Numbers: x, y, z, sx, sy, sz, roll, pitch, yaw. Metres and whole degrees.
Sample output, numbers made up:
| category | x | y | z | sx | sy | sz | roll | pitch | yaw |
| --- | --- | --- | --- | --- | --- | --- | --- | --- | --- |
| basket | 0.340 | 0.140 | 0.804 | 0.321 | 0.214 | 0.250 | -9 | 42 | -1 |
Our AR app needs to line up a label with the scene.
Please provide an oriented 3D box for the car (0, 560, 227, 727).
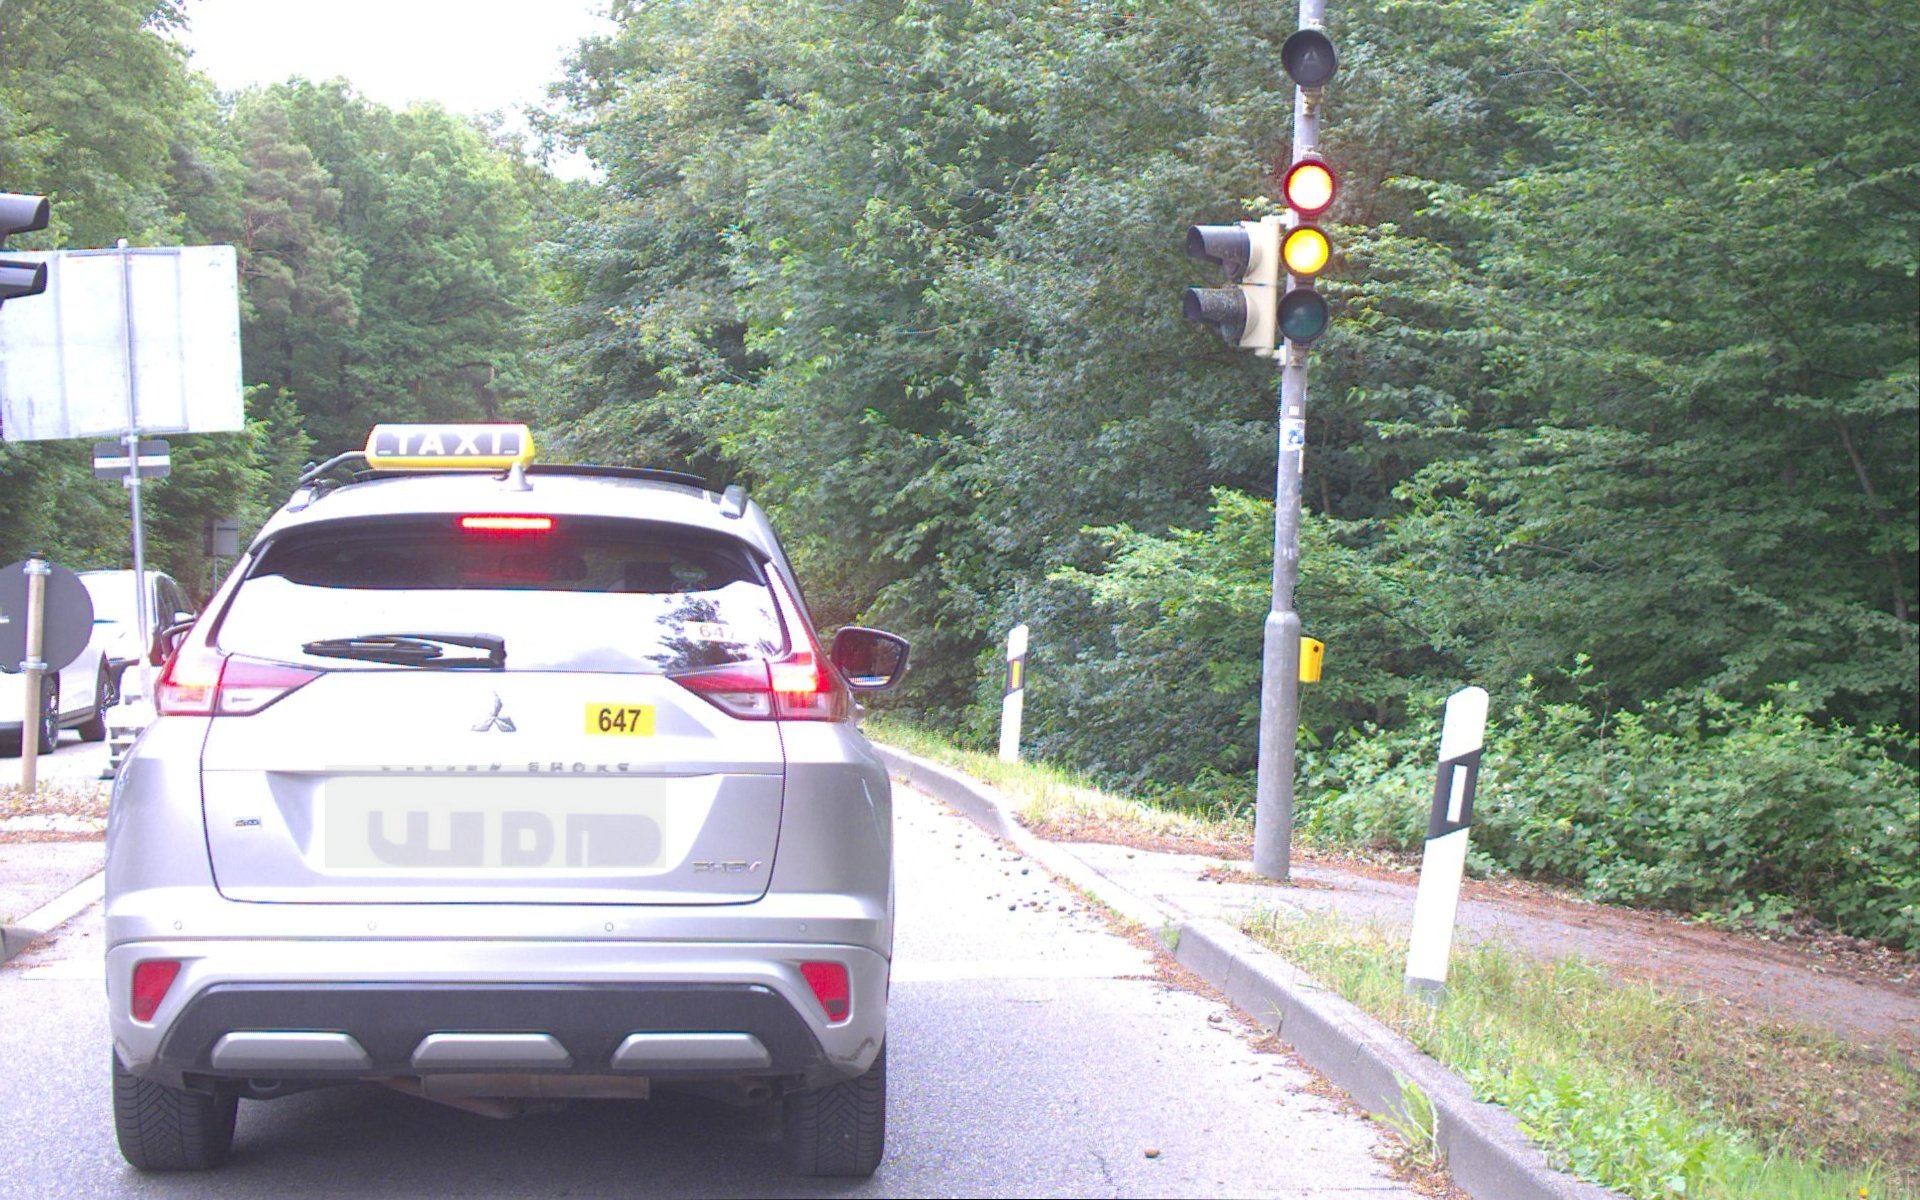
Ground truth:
| category | x | y | z | sx | sy | sz | roll | pitch | yaw |
| --- | --- | --- | --- | --- | --- | --- | --- | --- | --- |
| car | -8.392 | 0.395 | 33.720 | 1.811 | 1.503 | 3.722 | -2 | 0 | -4 |

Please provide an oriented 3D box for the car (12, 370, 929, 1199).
| category | x | y | z | sx | sy | sz | roll | pitch | yaw |
| --- | --- | --- | --- | --- | --- | --- | --- | --- | --- |
| car | -1.219 | 0.405 | 9.122 | 1.846 | 1.774 | 4.001 | 1 | 1 | -6 |

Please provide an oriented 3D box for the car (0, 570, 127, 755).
| category | x | y | z | sx | sy | sz | roll | pitch | yaw |
| --- | --- | --- | --- | --- | --- | --- | --- | --- | --- |
| car | -7.853 | 0.470 | 27.506 | 1.612 | 1.317 | 3.722 | -2 | 2 | -3 |
